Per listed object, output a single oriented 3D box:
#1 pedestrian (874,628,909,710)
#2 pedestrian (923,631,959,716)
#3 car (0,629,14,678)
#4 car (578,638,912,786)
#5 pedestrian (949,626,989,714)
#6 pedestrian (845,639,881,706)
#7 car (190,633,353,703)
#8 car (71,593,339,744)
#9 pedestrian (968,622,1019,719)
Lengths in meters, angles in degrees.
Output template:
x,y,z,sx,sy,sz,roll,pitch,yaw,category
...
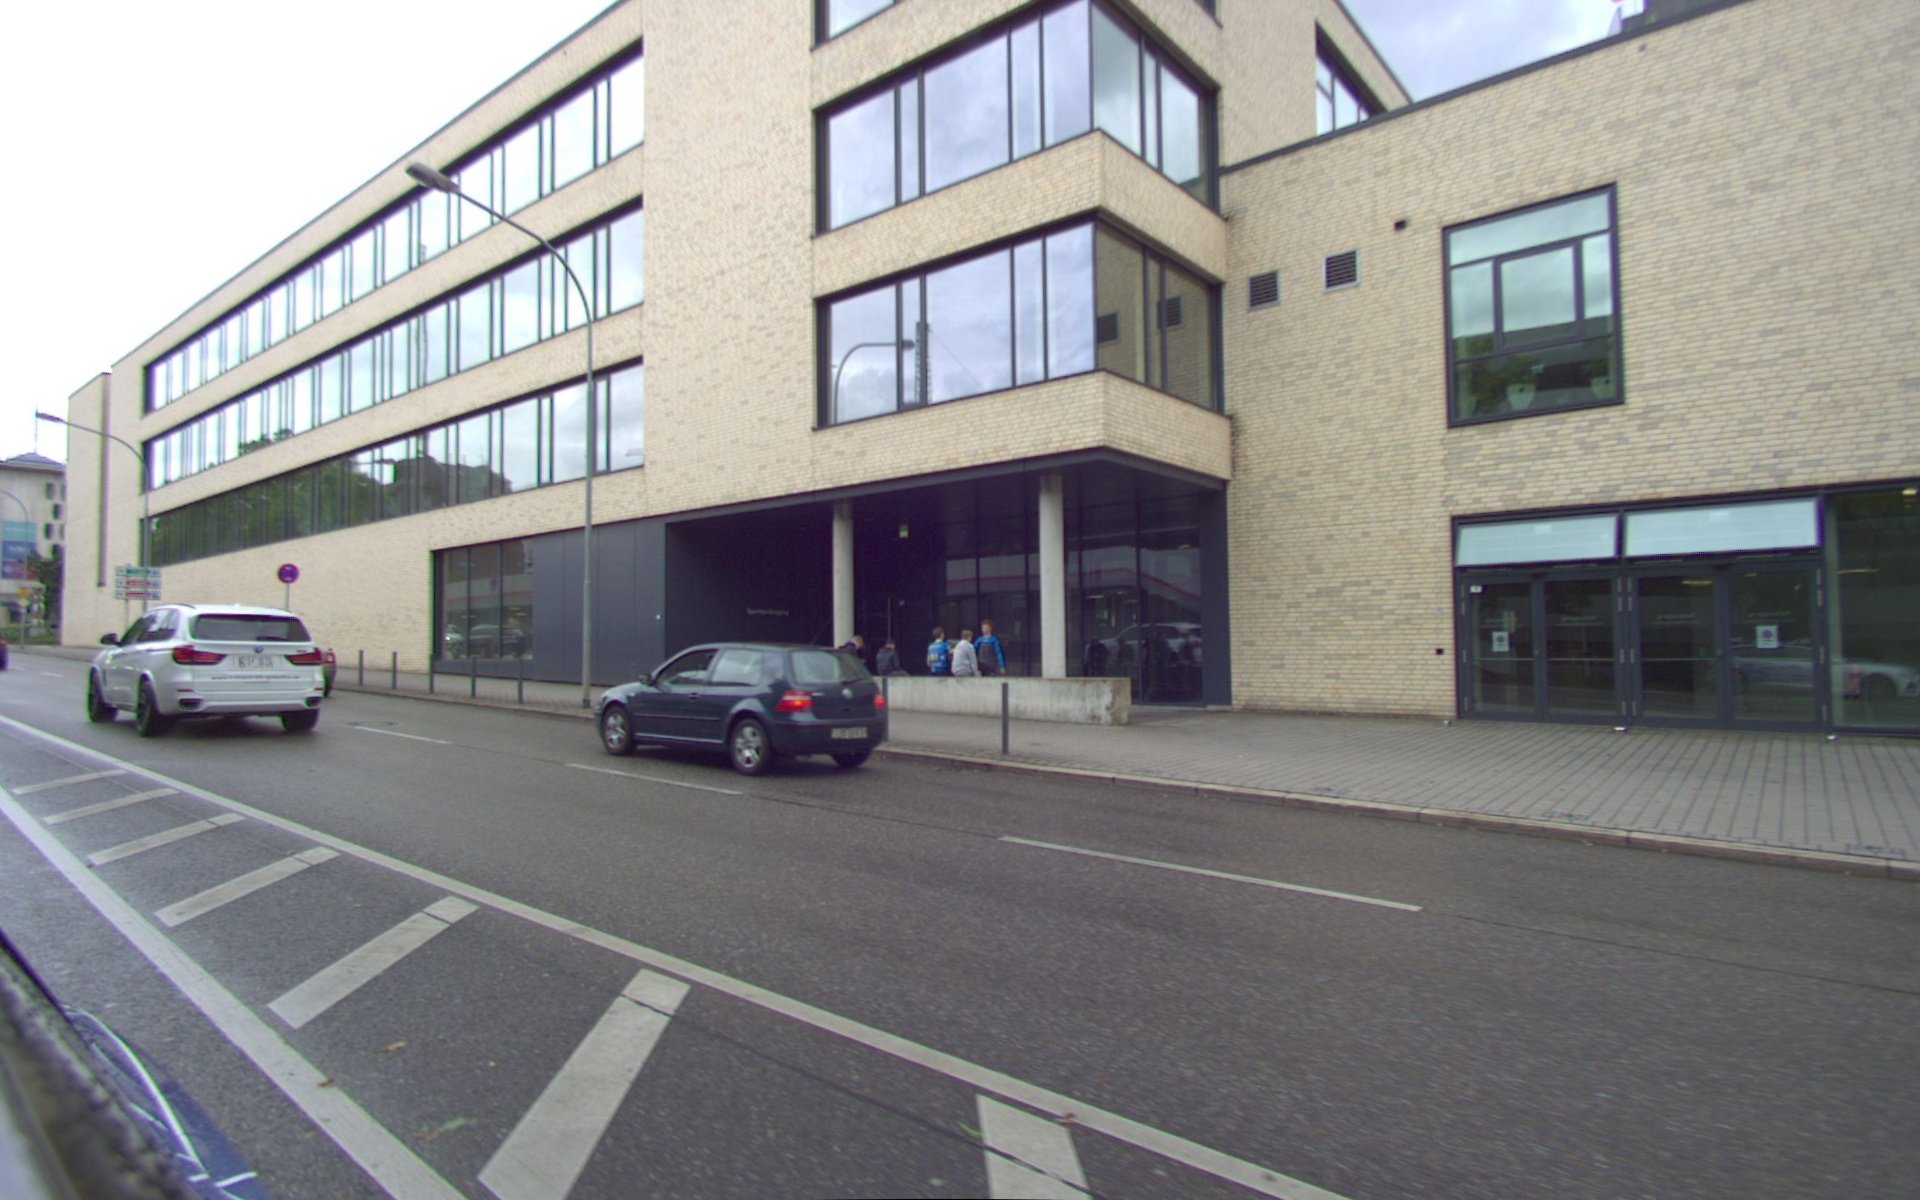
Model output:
x,y,z,sx,sy,sz,roll,pitch,yaw,category
-1.273,1.266,18.860,0.462,1.486,0.445,-1,0,36,pedestrian
-0.347,1.306,18.147,0.462,1.486,0.445,-1,0,36,pedestrian
-31.260,1.598,31.614,4.283,1.473,1.794,-1,-4,38,car
-2.626,1.212,11.952,3.966,1.423,1.728,-1,-4,39,car
0.158,1.208,17.661,0.527,1.486,0.437,-1,0,36,pedestrian
-1.866,1.381,19.465,0.422,1.224,0.542,-1,0,43,pedestrian
-15.364,1.474,22.517,4.225,1.399,1.811,-1,-4,39,car
-10.878,0.921,14.466,4.568,1.825,1.873,-1,-4,38,car
0.616,1.283,18.756,0.627,1.727,0.705,0,0,-44,pedestrian
